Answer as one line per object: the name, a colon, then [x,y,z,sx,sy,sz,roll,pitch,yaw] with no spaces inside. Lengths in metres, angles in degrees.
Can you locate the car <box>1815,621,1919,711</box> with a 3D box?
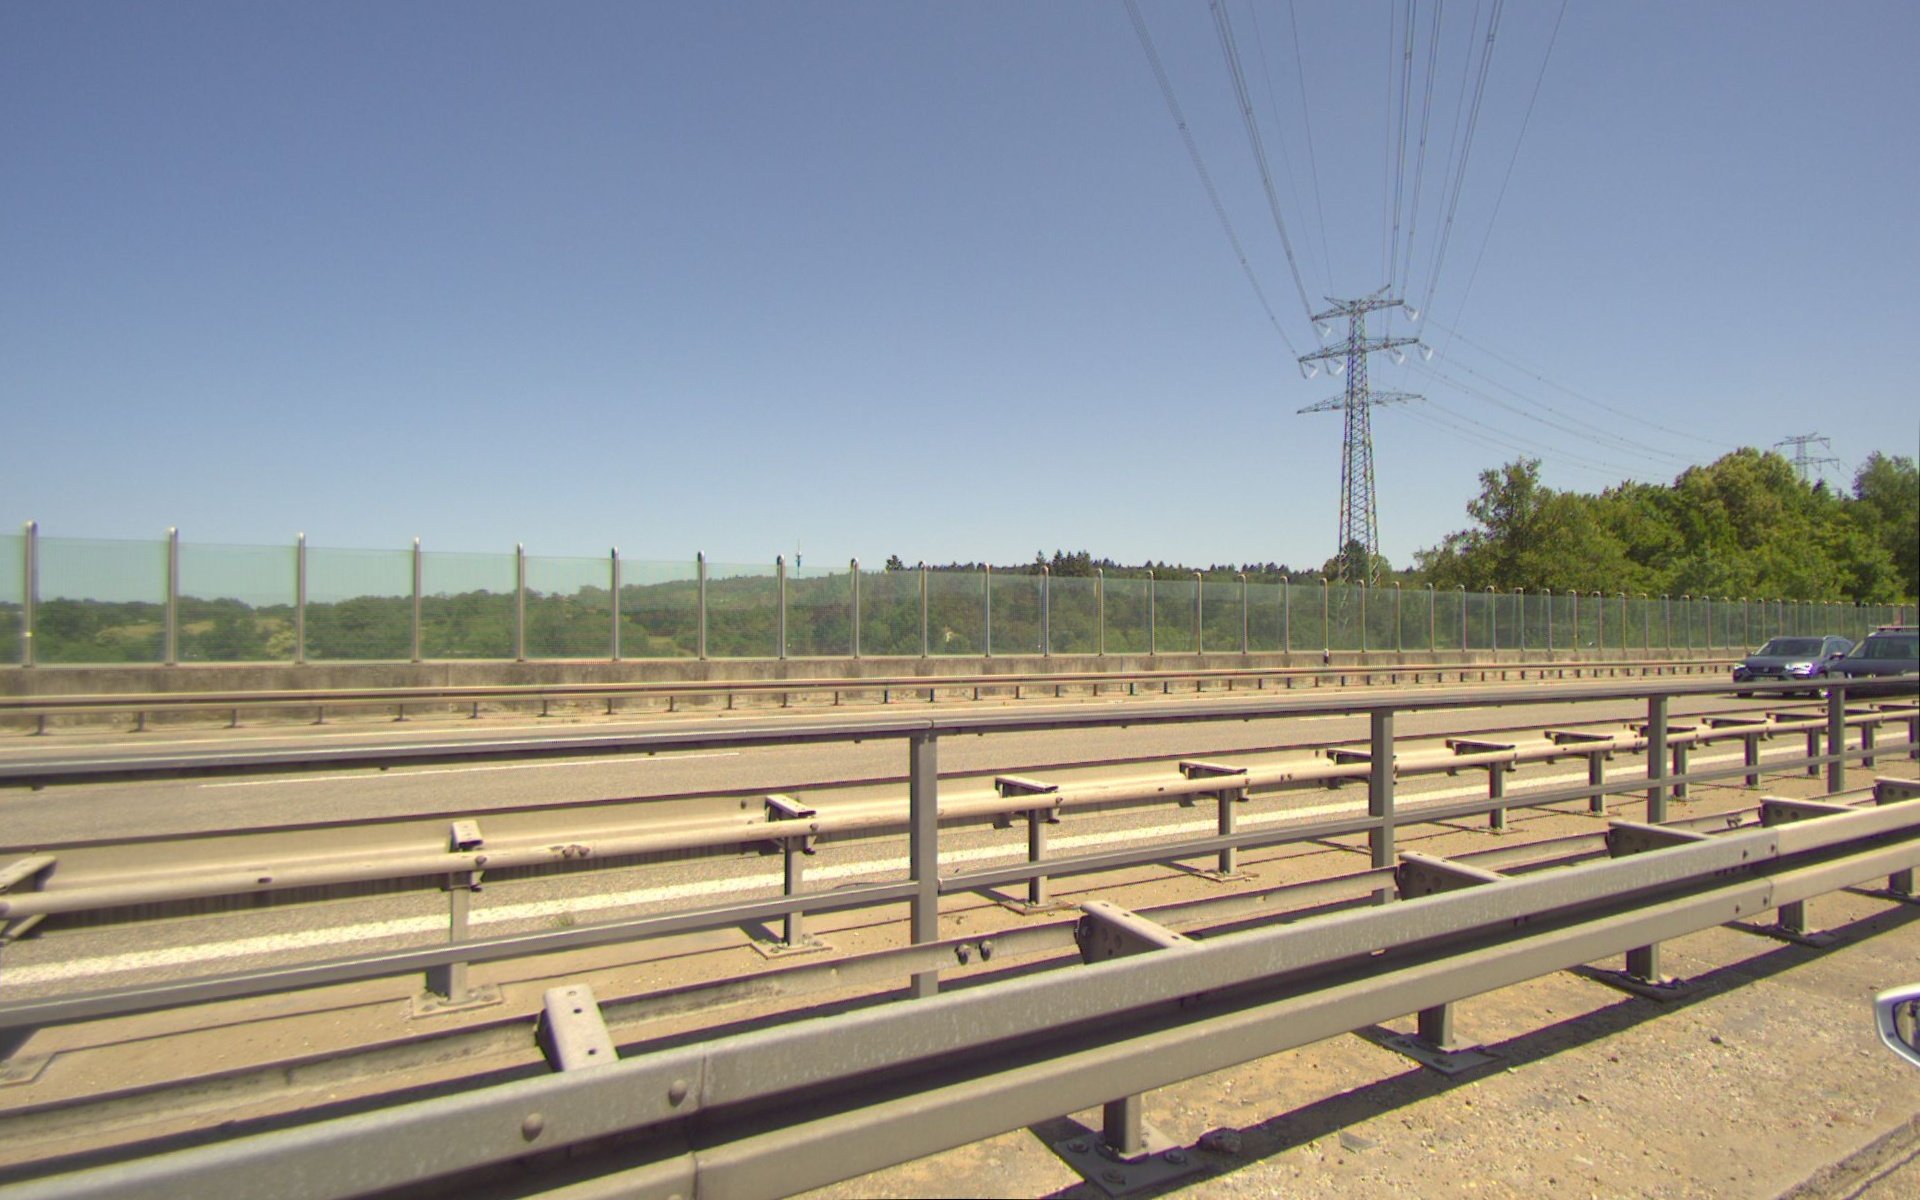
car: [19.963,1.344,21.153,4.053,1.743,1.746,1,-2,-30]

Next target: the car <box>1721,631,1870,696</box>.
car: [22.054,1.663,26.498,3.953,1.567,1.747,1,-4,-31]
